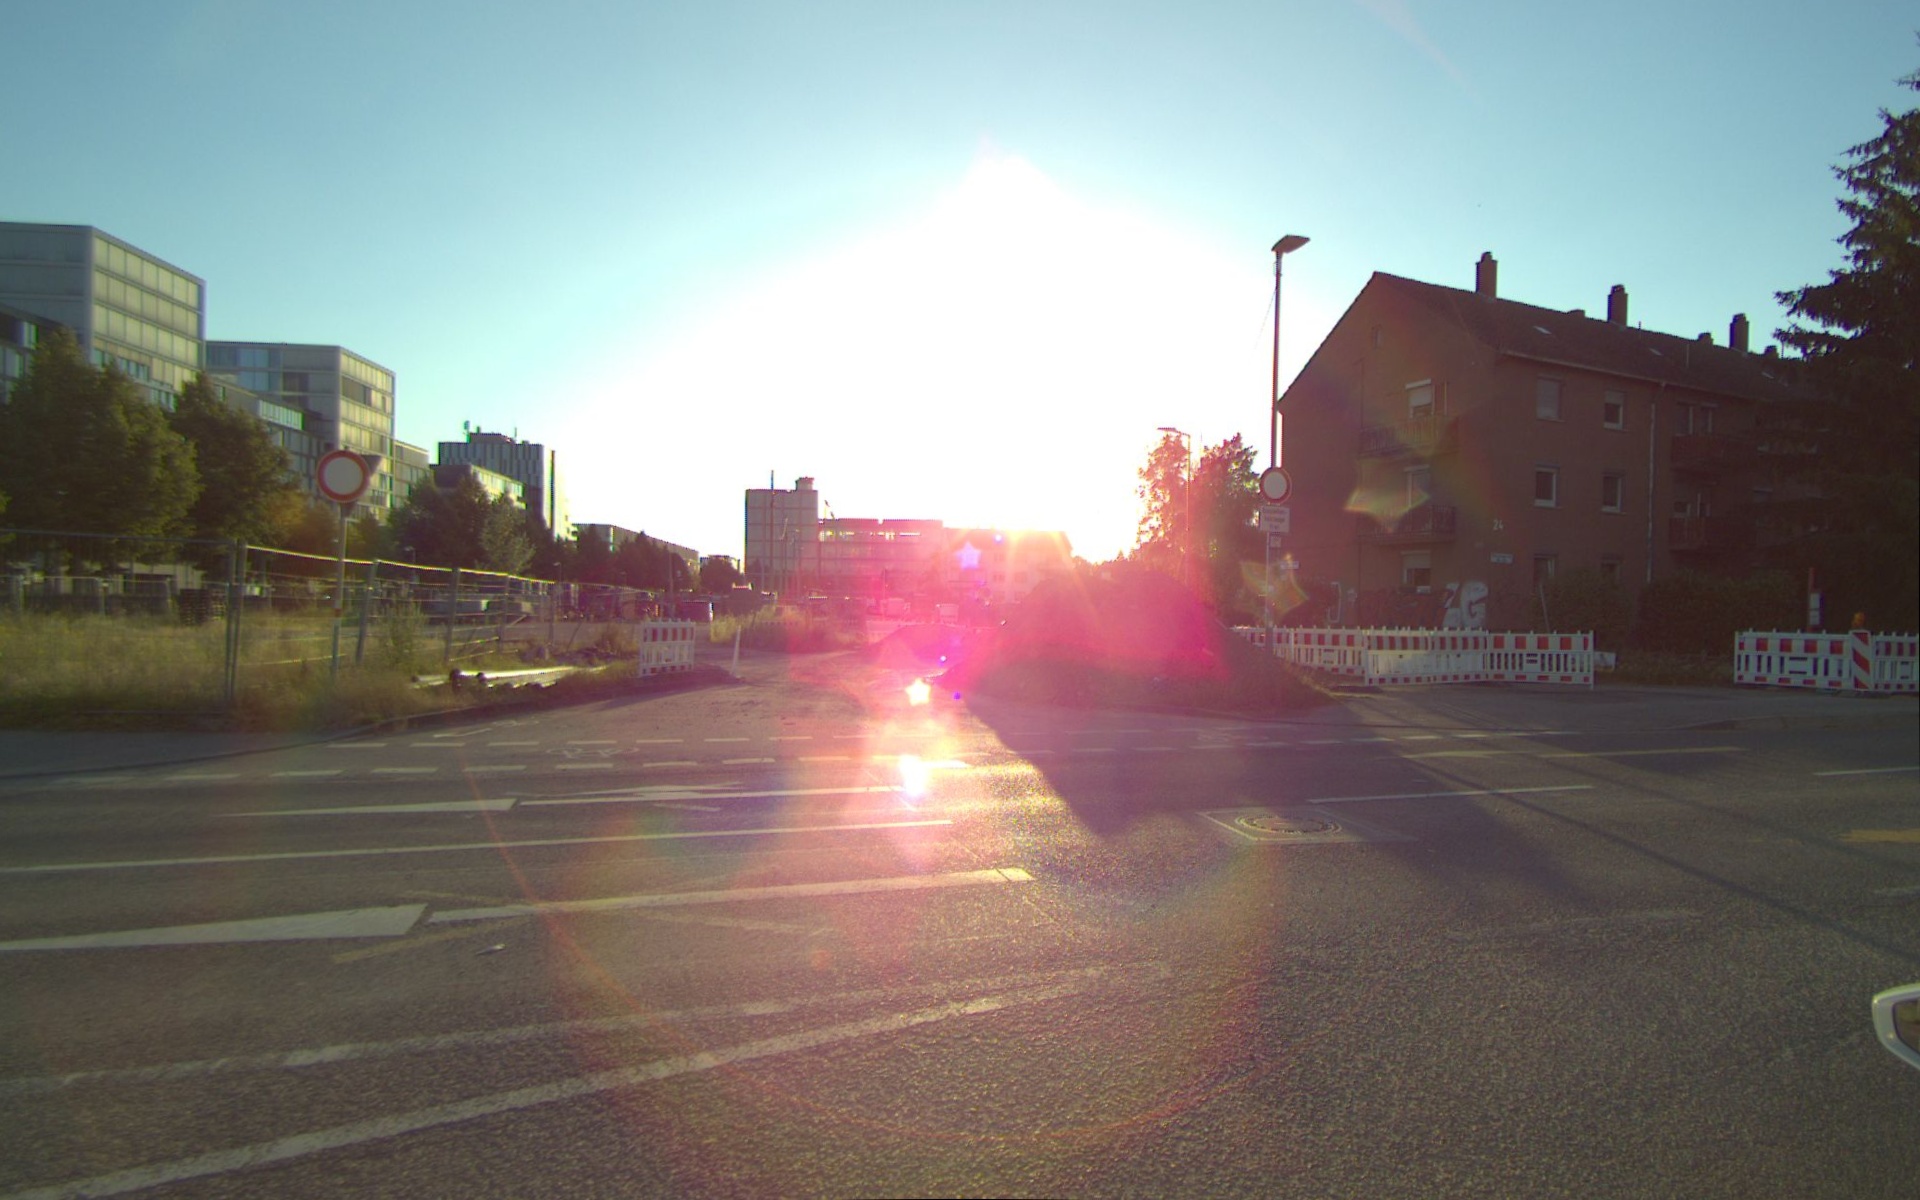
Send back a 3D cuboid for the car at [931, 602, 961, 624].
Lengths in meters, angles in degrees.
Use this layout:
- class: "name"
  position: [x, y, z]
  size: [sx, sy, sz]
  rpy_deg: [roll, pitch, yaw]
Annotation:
- class: "car"
  position: [-1.122, 0.992, 79.225]
  size: [1.818, 1.673, 3.995]
  rpy_deg: [1, 0, -8]
